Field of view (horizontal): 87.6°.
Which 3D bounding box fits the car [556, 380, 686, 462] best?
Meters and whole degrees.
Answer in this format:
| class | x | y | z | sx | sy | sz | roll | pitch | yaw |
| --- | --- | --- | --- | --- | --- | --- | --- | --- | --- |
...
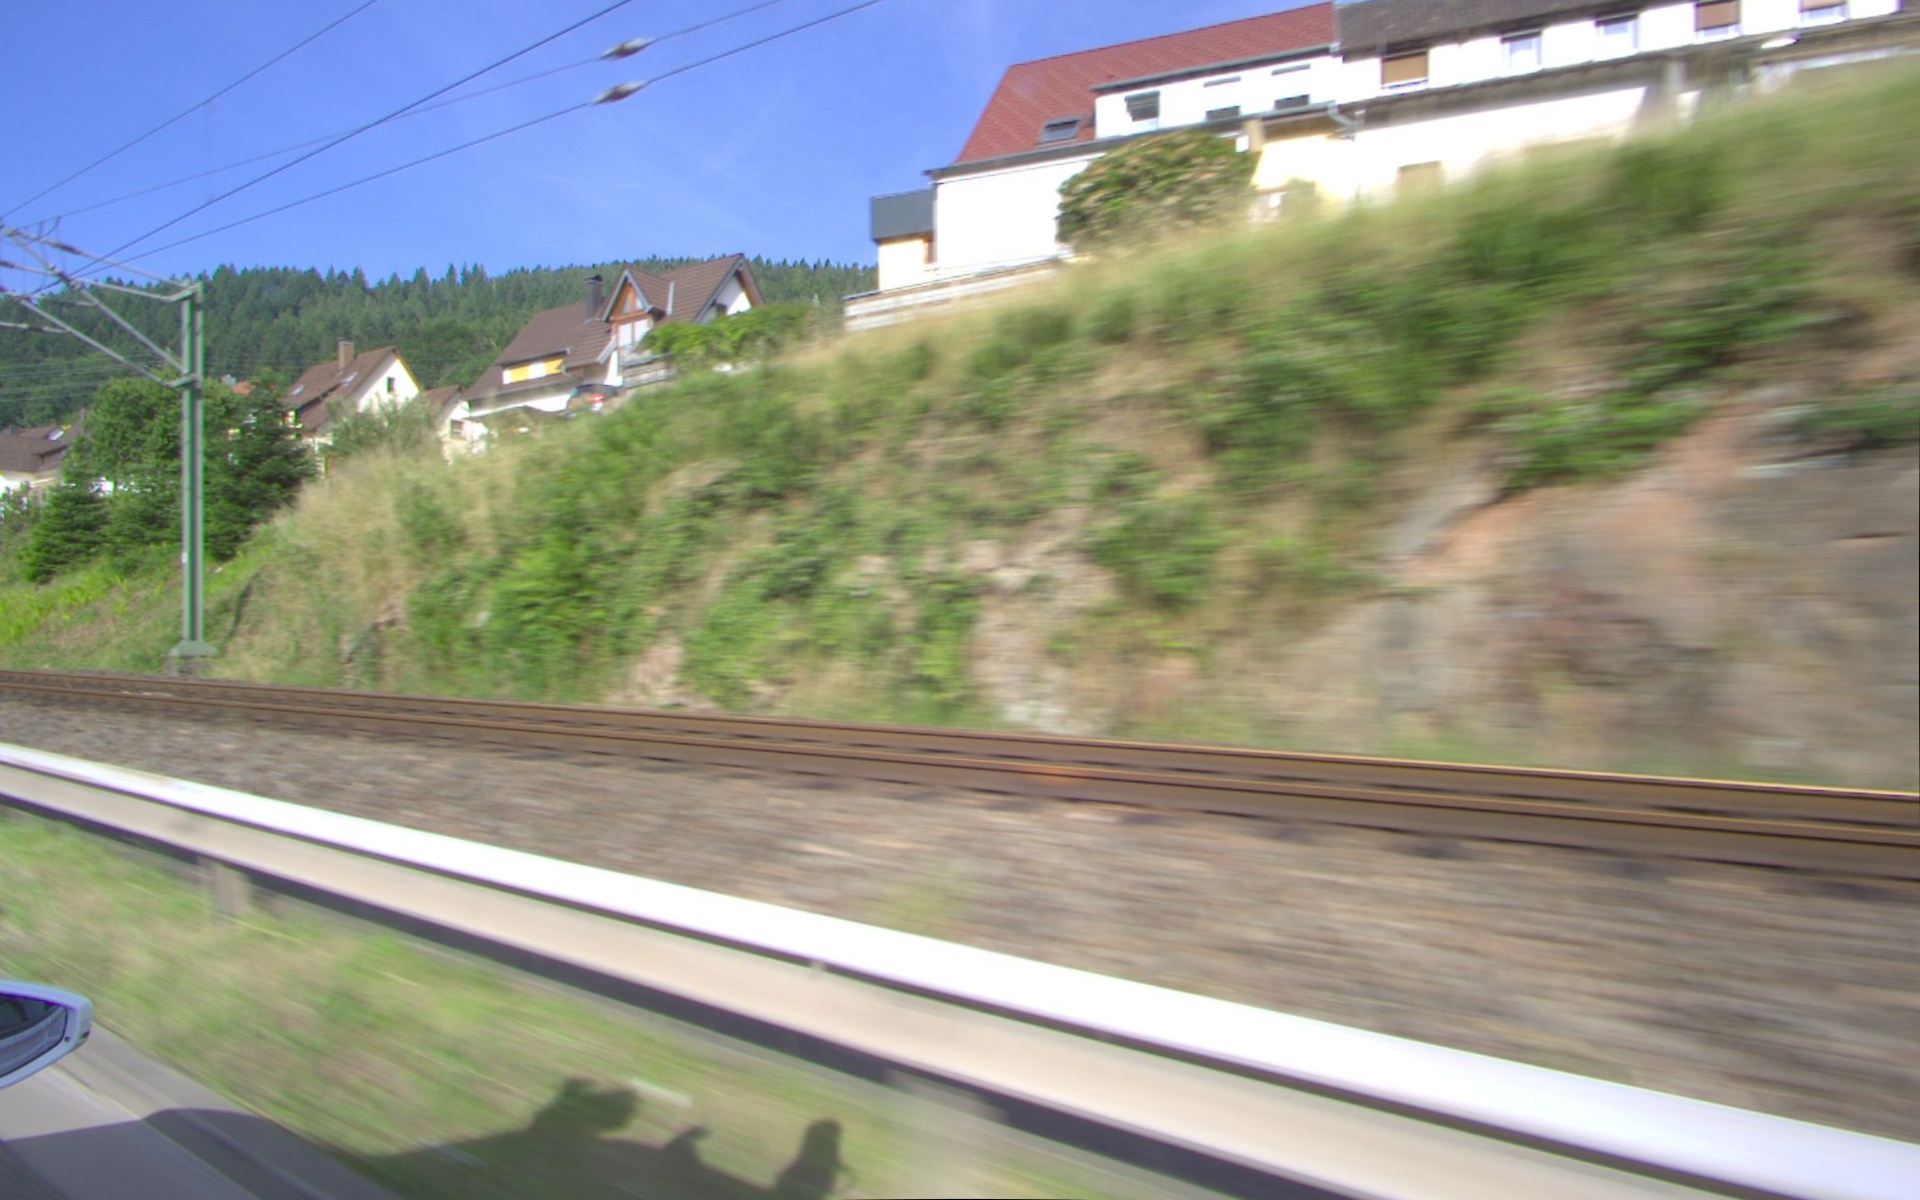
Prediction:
| class | x | y | z | sx | sy | sz | roll | pitch | yaw |
| --- | --- | --- | --- | --- | --- | --- | --- | --- | --- |
| car | -10.424 | -5.474 | 31.058 | 1.725 | 1.559 | 3.743 | -2 | -4 | 25 |
